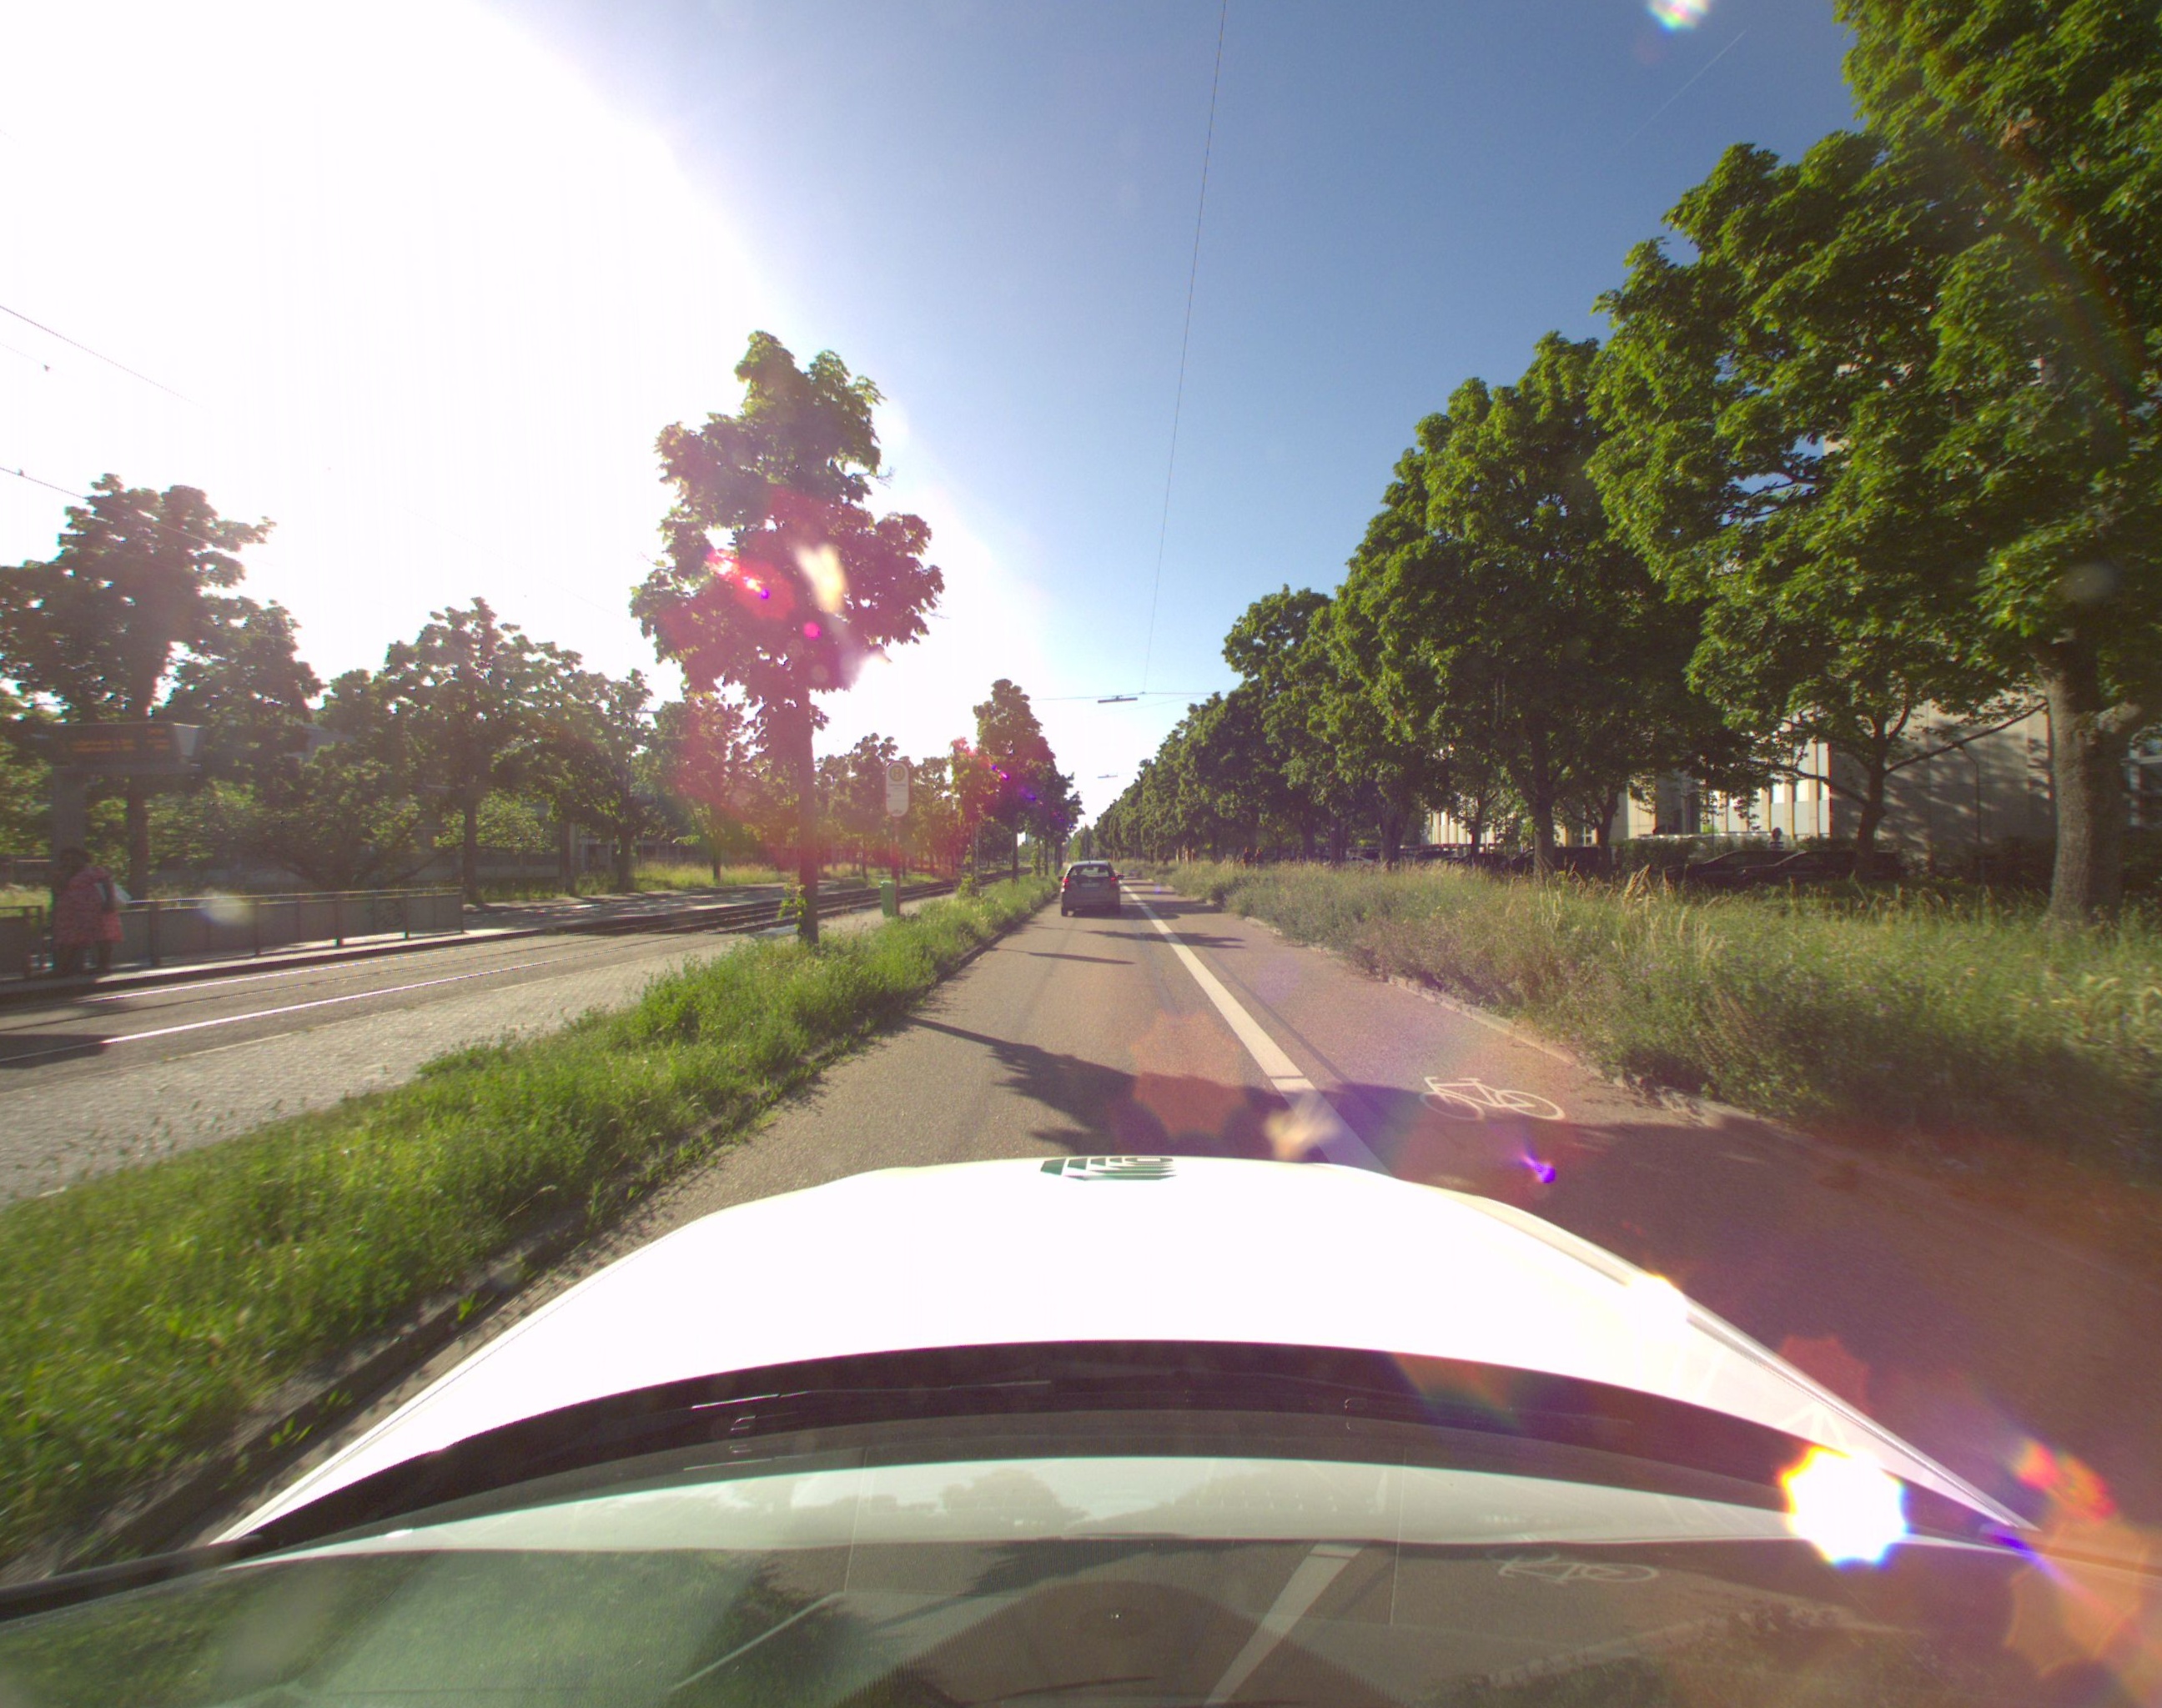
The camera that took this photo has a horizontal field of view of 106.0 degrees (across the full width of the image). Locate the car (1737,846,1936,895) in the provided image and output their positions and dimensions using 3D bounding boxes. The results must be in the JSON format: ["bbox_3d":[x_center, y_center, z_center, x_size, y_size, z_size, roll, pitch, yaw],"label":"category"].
[{"bbox_3d":[24.139,0.525,26.298,4.490,1.448,1.859,-1,-1,36],"label":"car"}]

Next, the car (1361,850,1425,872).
[{"bbox_3d":[23.698,0.547,61.904,4.230,1.536,1.760,-2,0,-10],"label":"car"}]

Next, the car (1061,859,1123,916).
[{"bbox_3d":[0.296,0.919,23.716,1.619,1.500,3.456,-2,0,0],"label":"car"}]

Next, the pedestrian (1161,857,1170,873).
[{"bbox_3d":[8.623,1.095,83.024,0.821,1.569,0.762,0,-1,0],"label":"pedestrian"}]

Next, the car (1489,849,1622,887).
[{"bbox_3d":[23.566,0.689,40.625,1.930,1.752,5.390,0,-1,-42],"label":"car"}]

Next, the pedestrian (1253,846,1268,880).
[{"bbox_3d":[10.354,0.526,47.049,0.705,1.930,0.817,0,-1,1],"label":"pedestrian"}]

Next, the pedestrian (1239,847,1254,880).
[{"bbox_3d":[9.538,0.557,47.023,0.705,1.918,0.817,0,-1,1],"label":"pedestrian"}]

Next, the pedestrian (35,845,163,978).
[{"bbox_3d":[-13.462,0.768,11.192,0.781,1.752,0.781,0,-1,0],"label":"pedestrian"}]

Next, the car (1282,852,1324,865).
[{"bbox_3d":[24.509,0.493,90.034,4.273,1.324,1.942,-2,1,4],"label":"car"}]

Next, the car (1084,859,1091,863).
[{"bbox_3d":[2.078,2.200,261.774,1.772,1.386,3.861,-2,0,-7],"label":"car"}]

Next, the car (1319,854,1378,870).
[{"bbox_3d":[24.158,0.741,73.664,4.686,1.271,1.806,-2,1,-3],"label":"car"}]

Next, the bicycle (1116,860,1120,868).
[{"bbox_3d":[6.446,1.745,141.650,0.481,1.204,2.141,-1,-2,-3],"label":"bicycle"}]

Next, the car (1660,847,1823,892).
[{"bbox_3d":[23.919,0.553,29.733,4.490,1.515,1.859,-1,-1,36],"label":"car"}]

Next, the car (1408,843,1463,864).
[{"bbox_3d":[35.879,-0.038,82.549,4.735,1.950,1.973,-1,0,-1],"label":"car"}]

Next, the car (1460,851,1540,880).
[{"bbox_3d":[24.746,0.654,48.144,3.936,1.639,1.734,-1,-1,37],"label":"car"}]

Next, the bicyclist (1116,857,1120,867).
[{"bbox_3d":[6.444,1.318,141.539,0.681,1.720,0.901,-1,-1,-4],"label":"bicyclist"}]

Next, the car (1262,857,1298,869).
[{"bbox_3d":[24.843,1.112,101.645,4.148,1.432,1.826,0,-1,2],"label":"car"}]

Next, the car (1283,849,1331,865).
[{"bbox_3d":[23.571,0.338,85.001,4.382,1.596,1.881,-1,-1,-4],"label":"car"}]

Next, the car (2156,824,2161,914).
[{"bbox_3d":[23.795,0.285,14.654,2.092,1.876,5.122,0,-1,-44],"label":"car"}]
